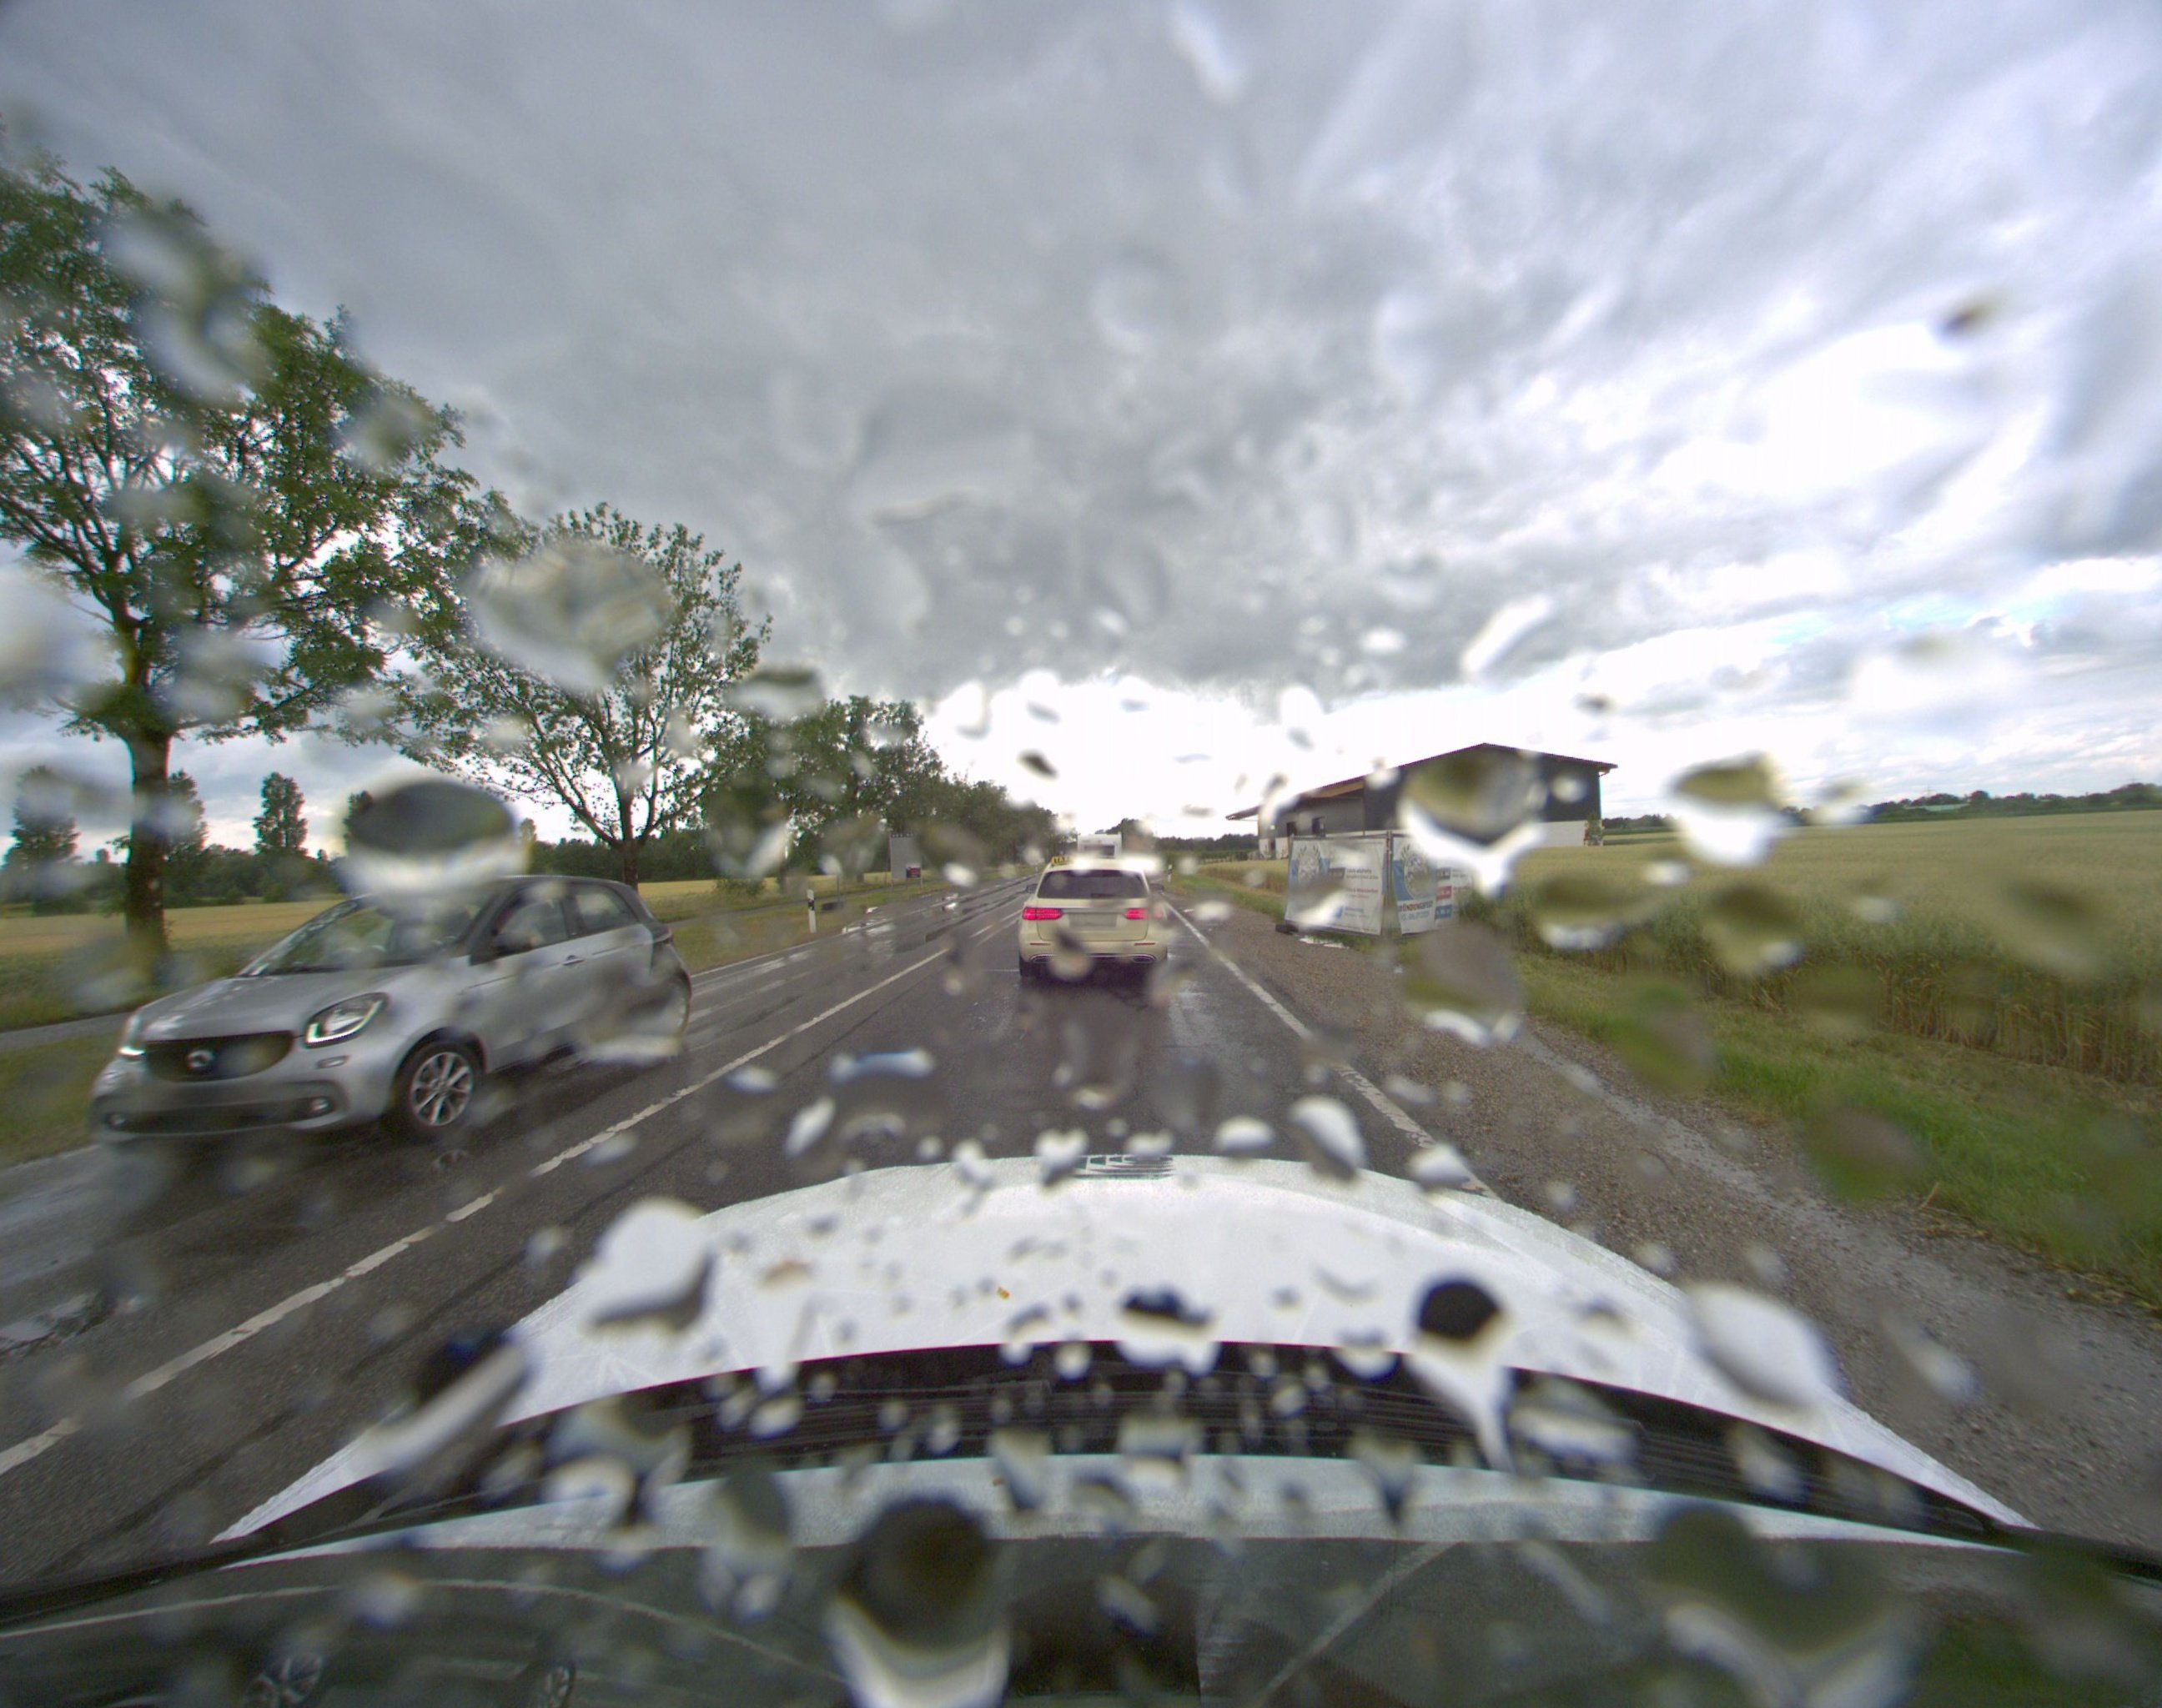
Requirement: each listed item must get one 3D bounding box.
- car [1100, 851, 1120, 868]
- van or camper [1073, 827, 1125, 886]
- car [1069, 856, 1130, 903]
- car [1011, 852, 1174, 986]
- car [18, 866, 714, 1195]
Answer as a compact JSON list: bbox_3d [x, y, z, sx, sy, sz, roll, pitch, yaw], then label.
[{"bbox_3d":[2.814,0.515,79.541,1.887,1.590,3.929,-2,0,1],"label":"car"},{"bbox_3d":[1.062,0.138,44.084,2.487,2.831,5.938,-3,0,3],"label":"van or camper"},{"bbox_3d":[0.627,0.811,27.638,1.887,1.429,3.929,-2,0,1],"label":"car"},{"bbox_3d":[0.215,0.725,11.135,1.790,1.464,4.033,-1,0,2],"label":"car"},{"bbox_3d":[-4.519,0.936,6.046,1.669,1.498,3.736,-5,0,2],"label":"car"}]
